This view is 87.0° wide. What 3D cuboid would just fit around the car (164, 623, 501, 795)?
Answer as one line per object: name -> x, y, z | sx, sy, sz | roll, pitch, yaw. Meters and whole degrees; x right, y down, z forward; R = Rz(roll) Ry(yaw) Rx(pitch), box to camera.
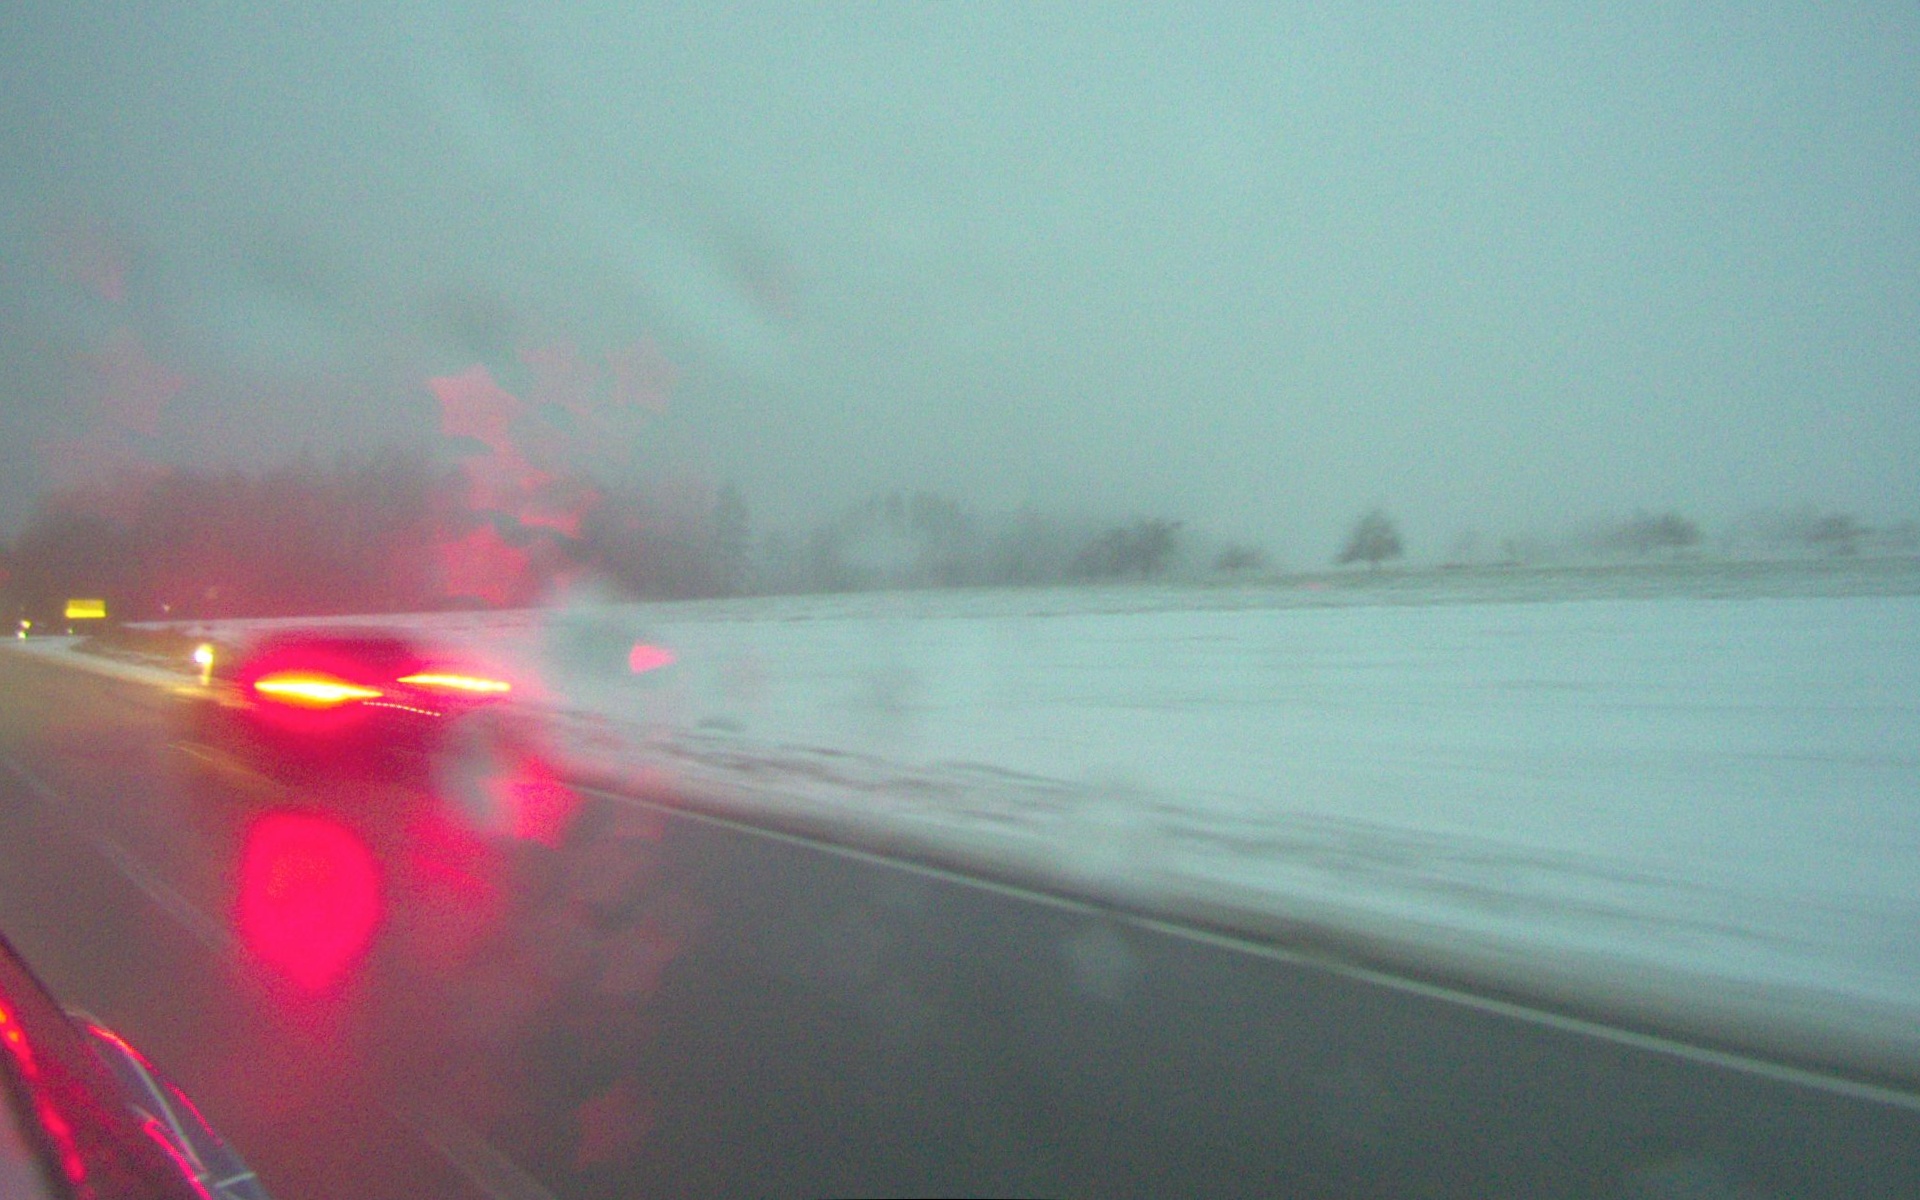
car -> -6.386, 0.914, 10.100 | 4.220, 1.356, 1.709 | -1, -2, 41
